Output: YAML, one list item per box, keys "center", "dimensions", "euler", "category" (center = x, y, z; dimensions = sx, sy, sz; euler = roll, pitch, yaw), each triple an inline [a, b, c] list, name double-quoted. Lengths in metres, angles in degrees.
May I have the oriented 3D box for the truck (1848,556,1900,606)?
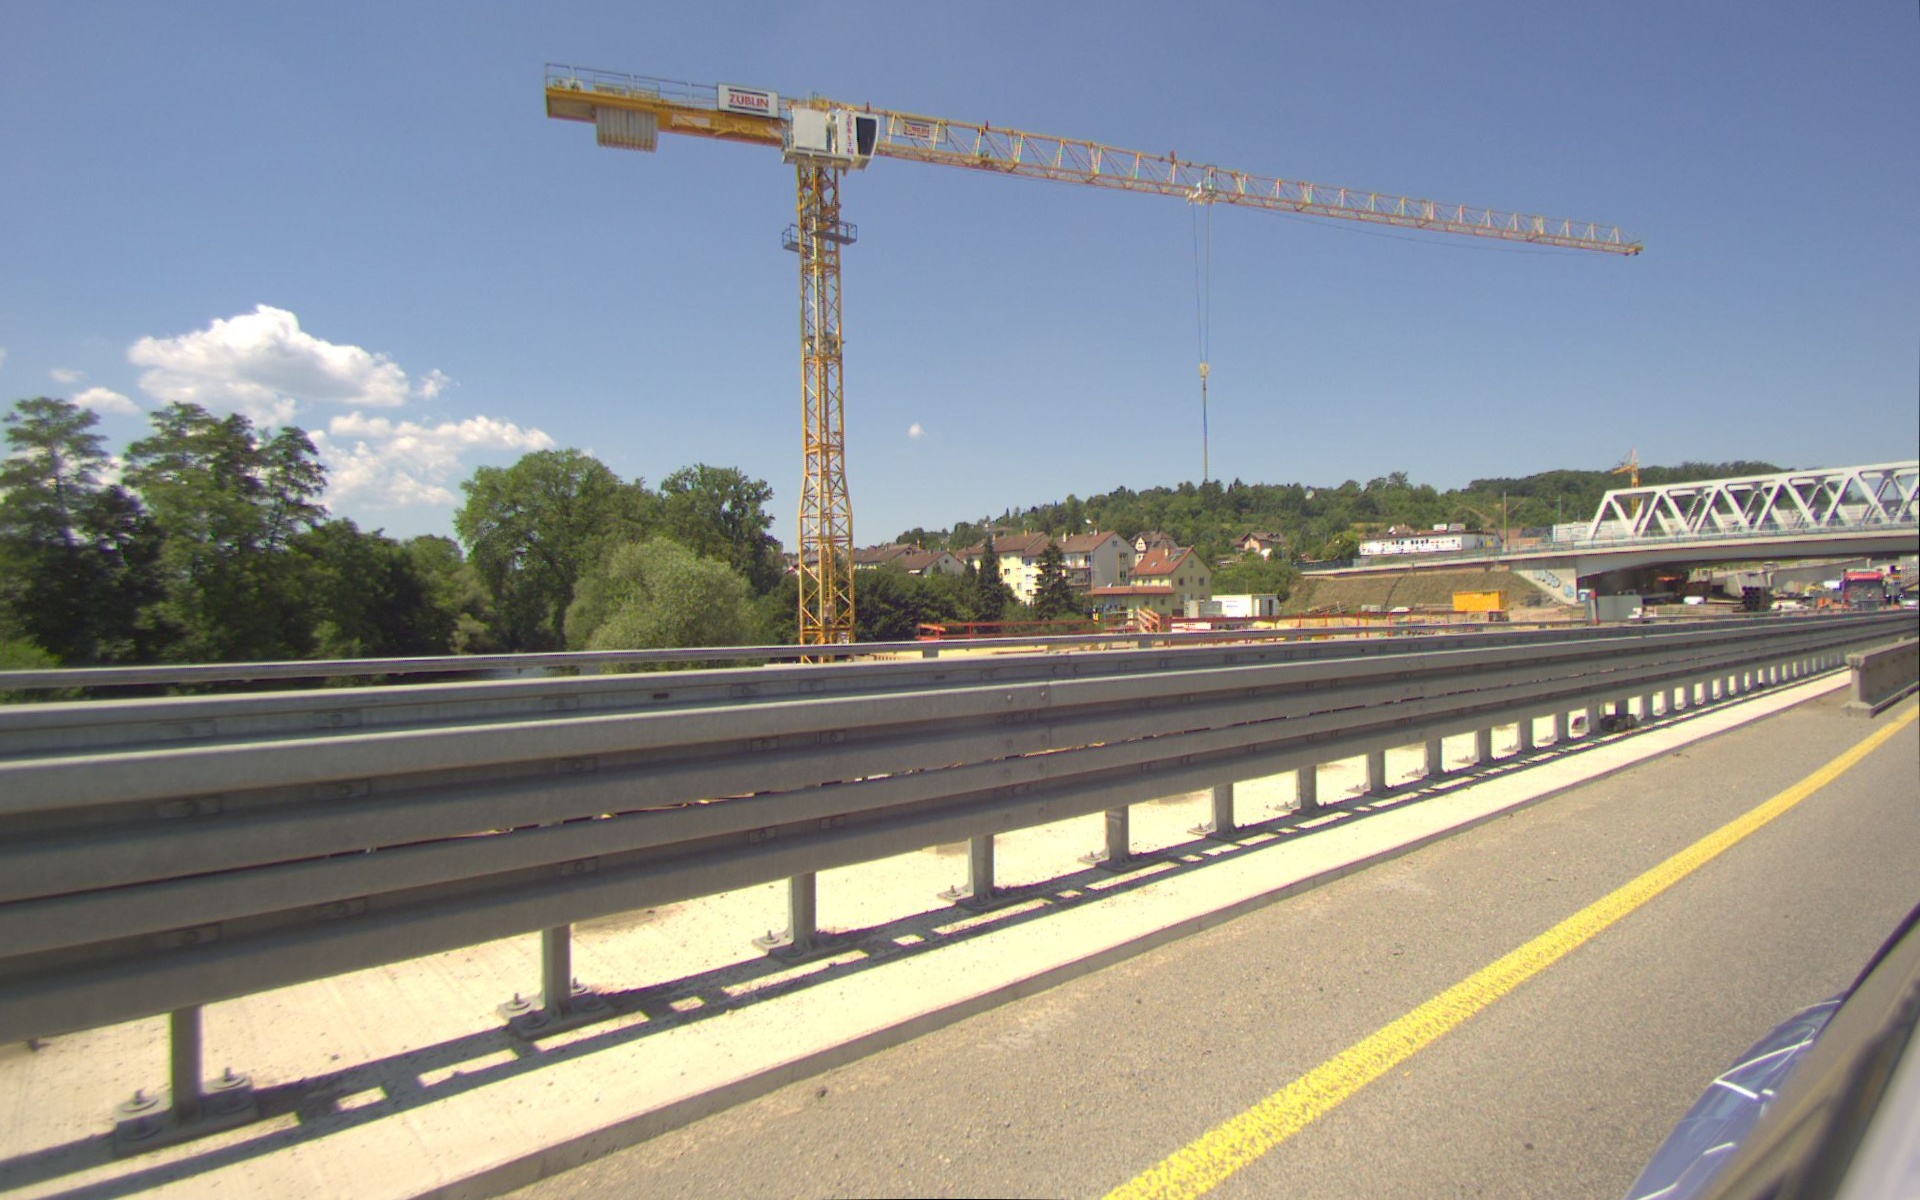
- center: [74.194, -1.508, 82.282]
  dimensions: [2.693, 3.772, 8.384]
  euler: [2, 2, 40]
  category: "truck"
